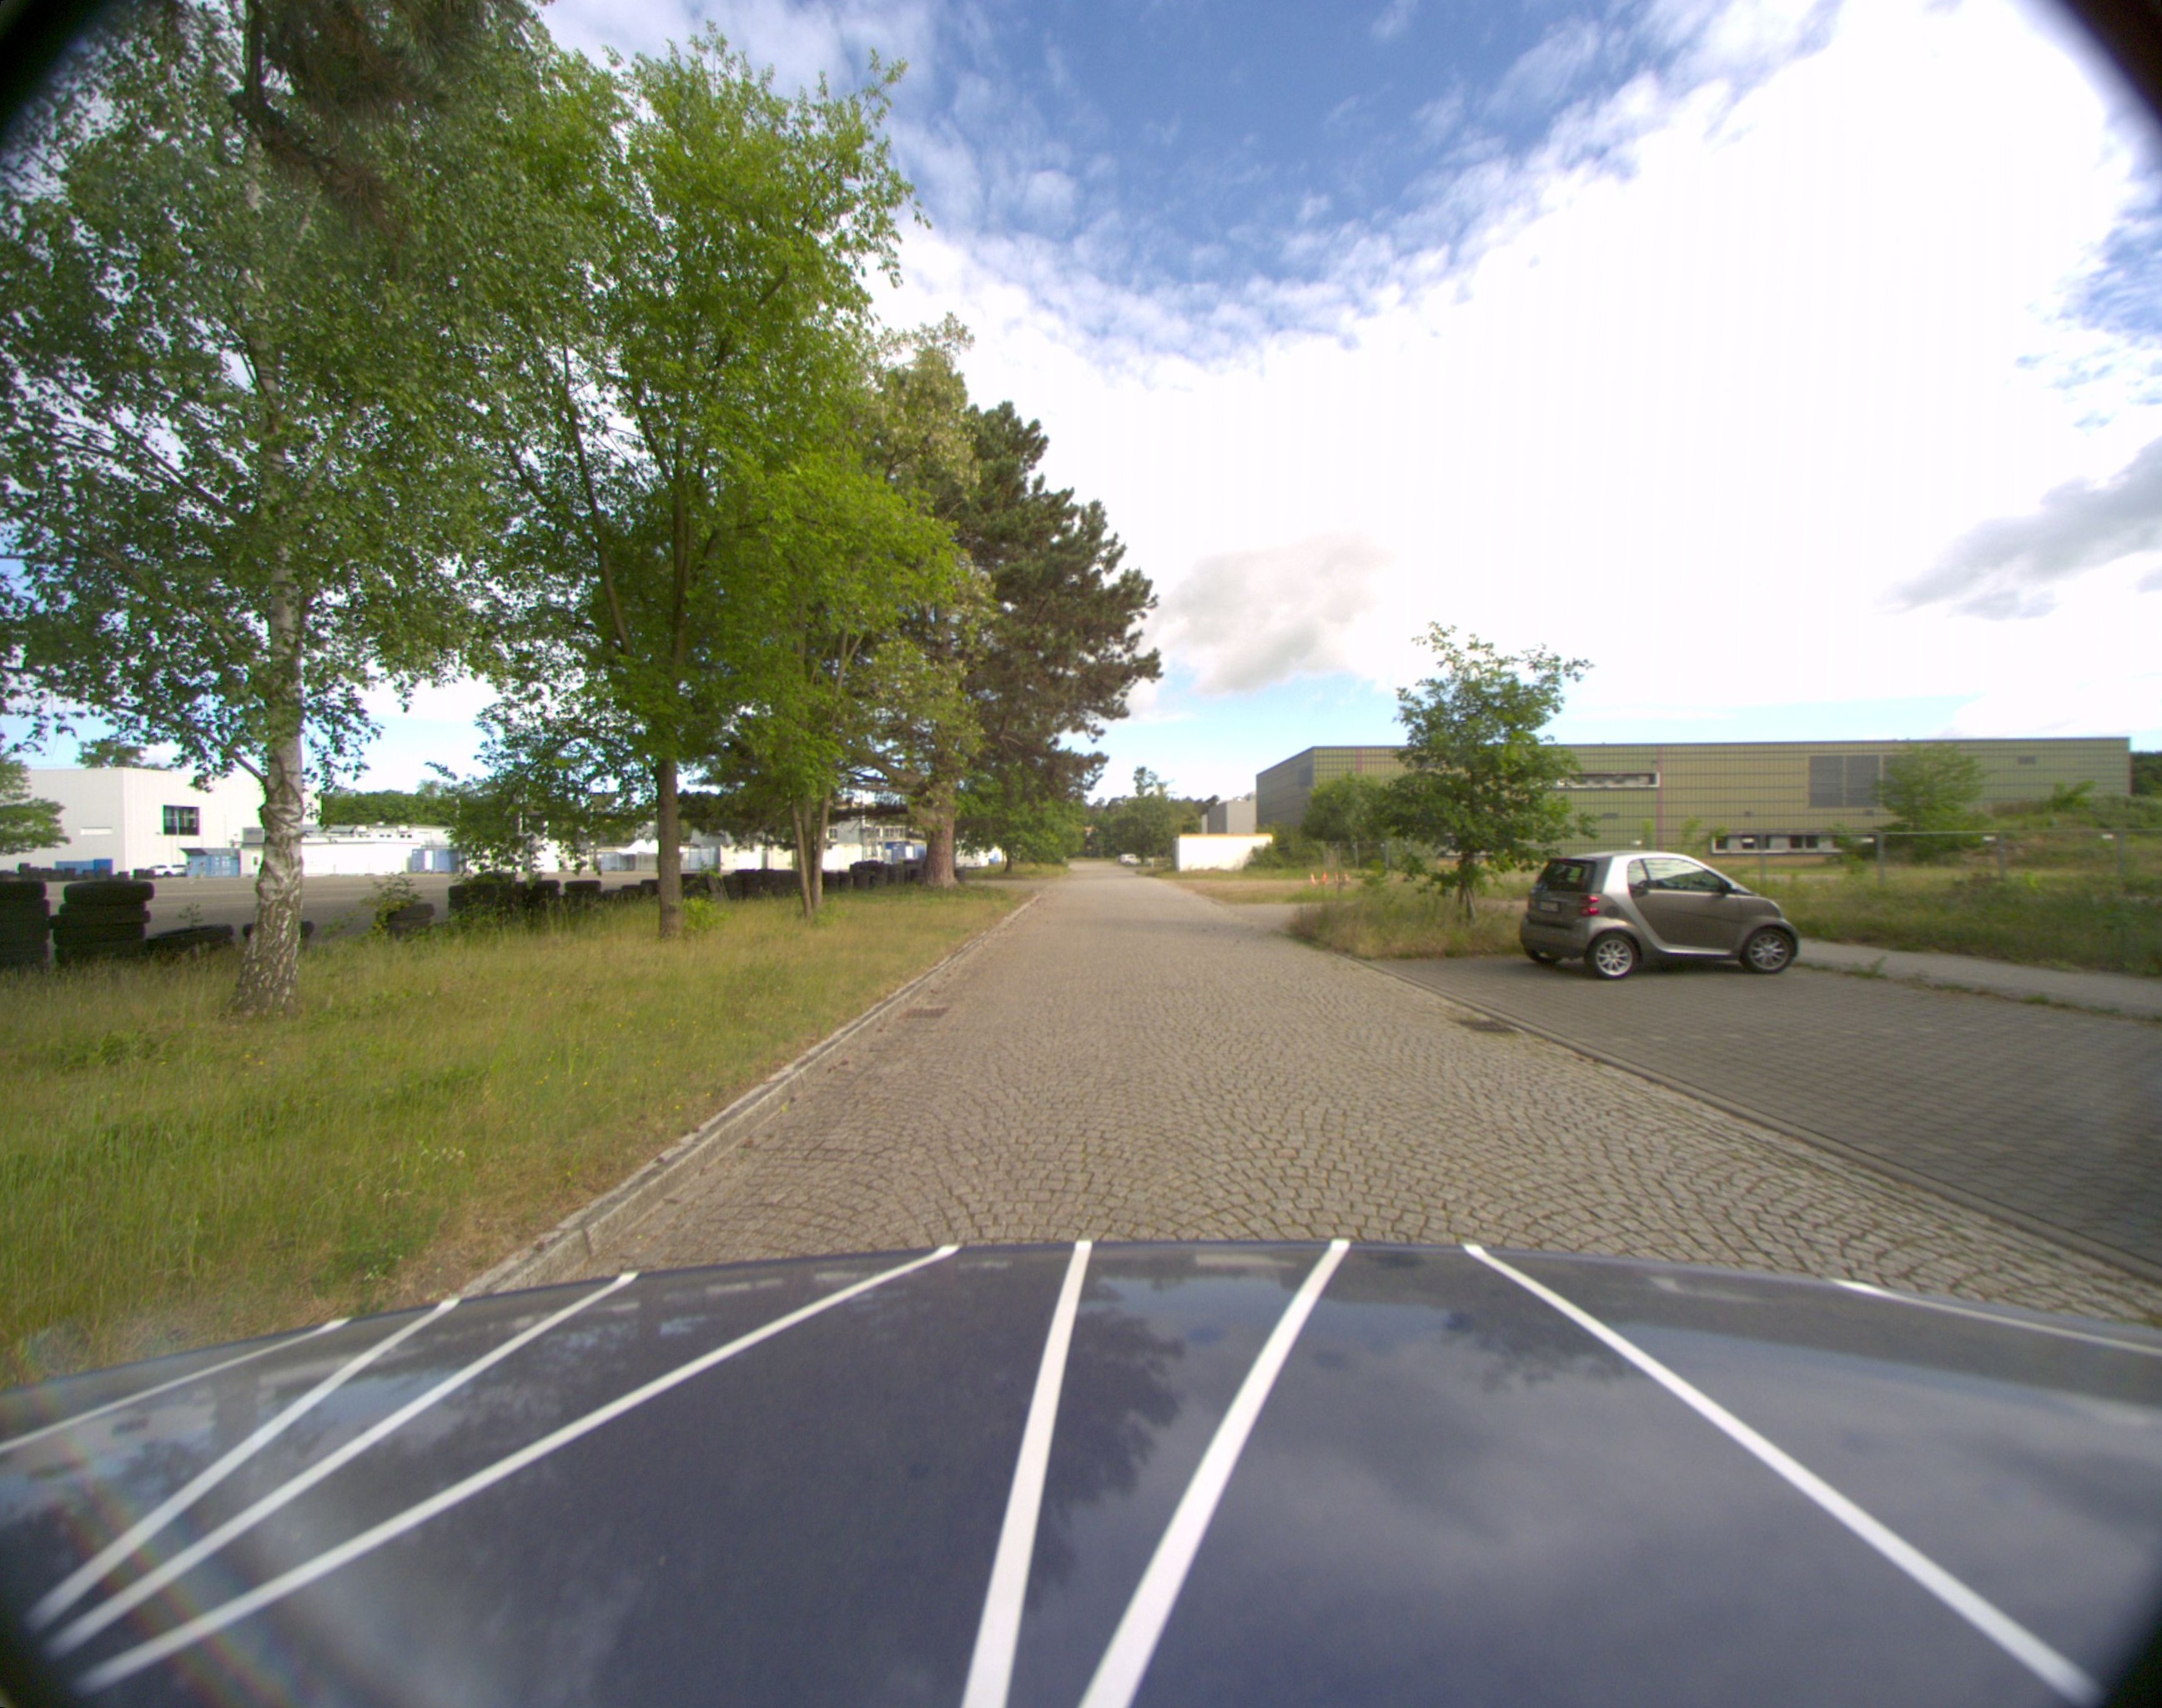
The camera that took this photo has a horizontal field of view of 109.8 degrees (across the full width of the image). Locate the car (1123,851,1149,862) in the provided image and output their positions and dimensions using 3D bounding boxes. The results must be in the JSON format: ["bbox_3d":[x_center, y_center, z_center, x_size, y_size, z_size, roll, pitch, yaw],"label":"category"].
[{"bbox_3d":[8.416,0.342,117.022,3.996,1.604,1.797,0,1,4],"label":"car"}]

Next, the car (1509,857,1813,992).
[{"bbox_3d":[7.325,0.835,9.802,2.661,1.502,1.610,-2,0,0],"label":"car"}]
